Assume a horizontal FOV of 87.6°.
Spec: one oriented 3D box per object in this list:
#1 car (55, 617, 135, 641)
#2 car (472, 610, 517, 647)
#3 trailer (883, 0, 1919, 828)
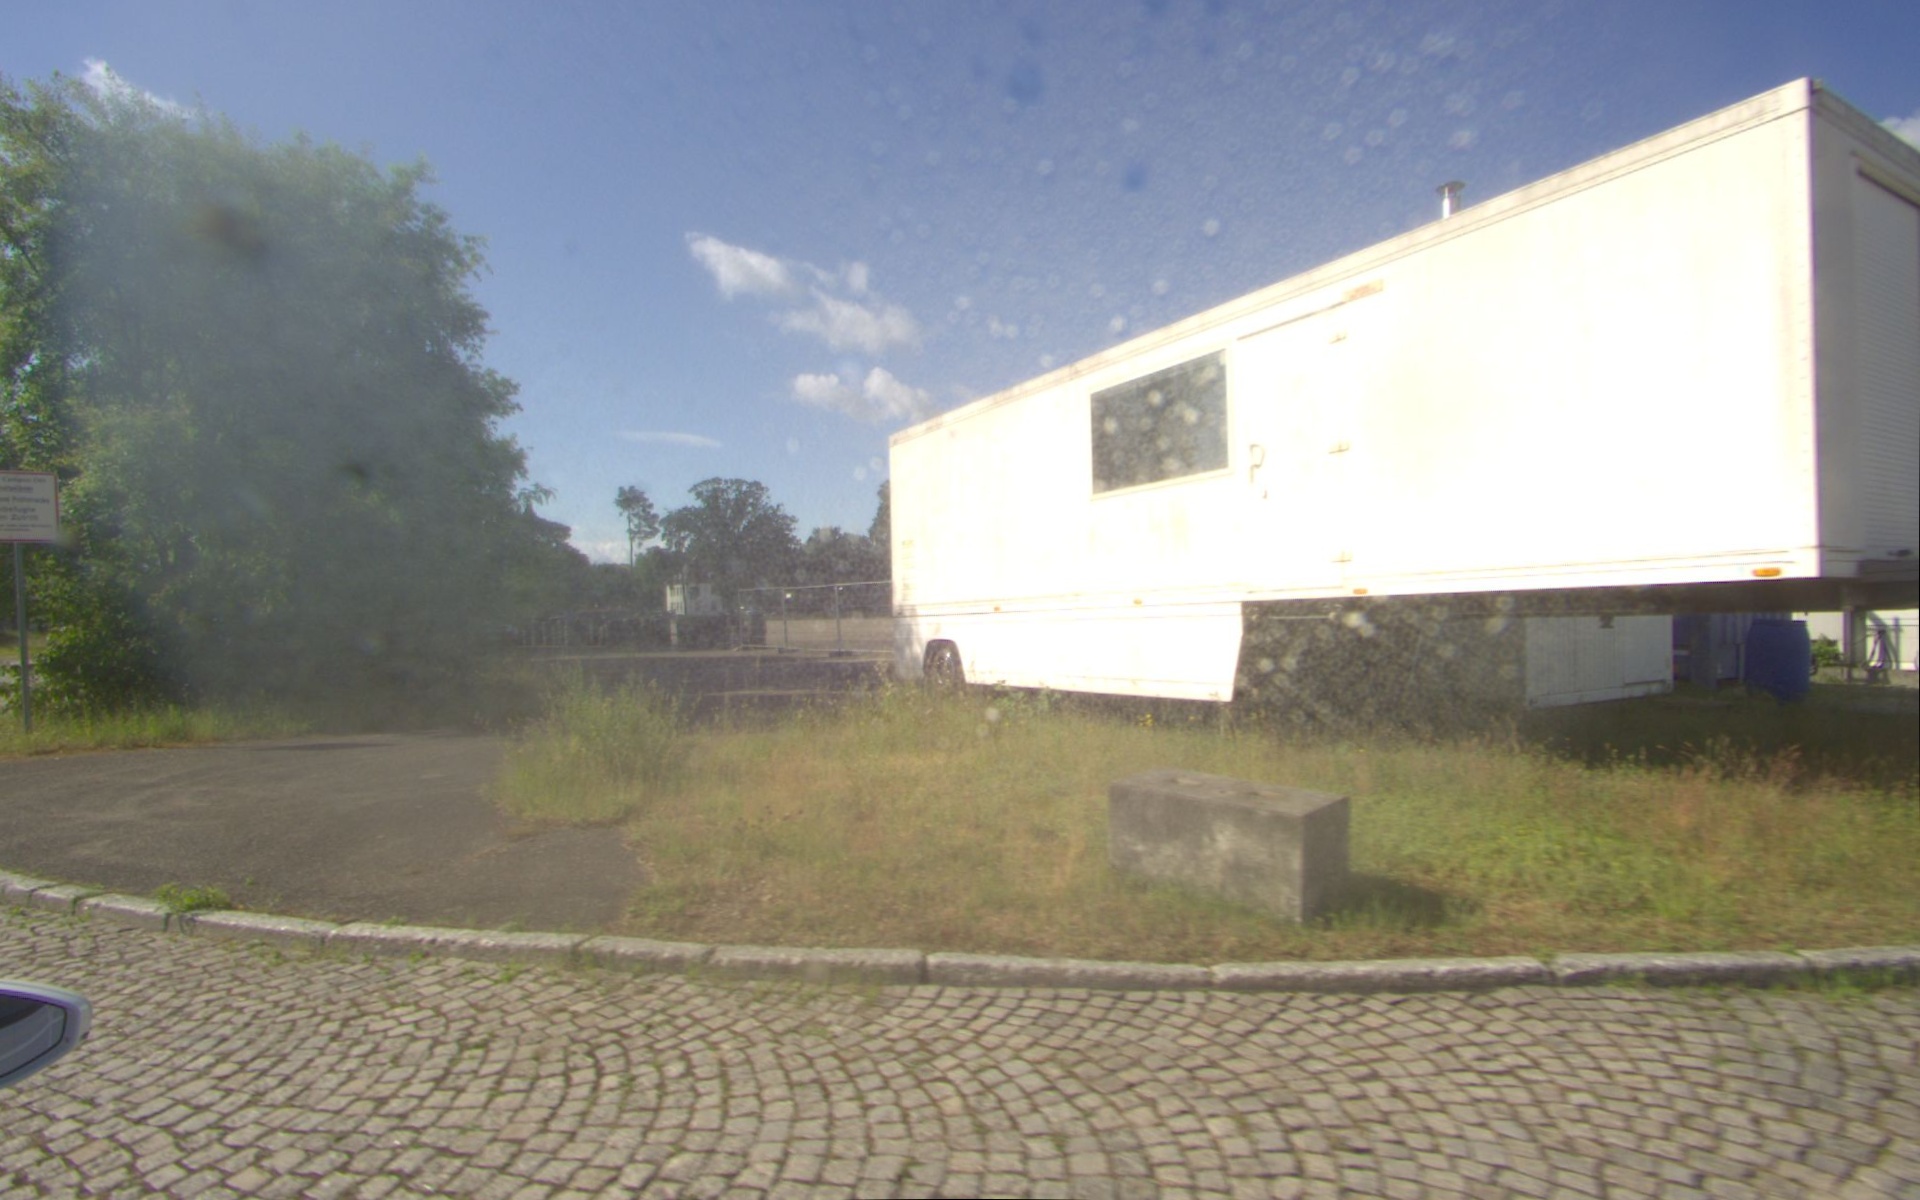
[{"bbox_3d":[-56.844,1.891,65.885,3.797,1.460,1.572,-1,0,-36],"label":"car"},{"bbox_3d":[-19.027,1.135,40.874,1.522,1.425,3.562,-1,0,-27],"label":"car"},{"bbox_3d":[2.894,-0.864,9.785,2.742,3.962,10.828,-1,0,-31],"label":"trailer"}]
